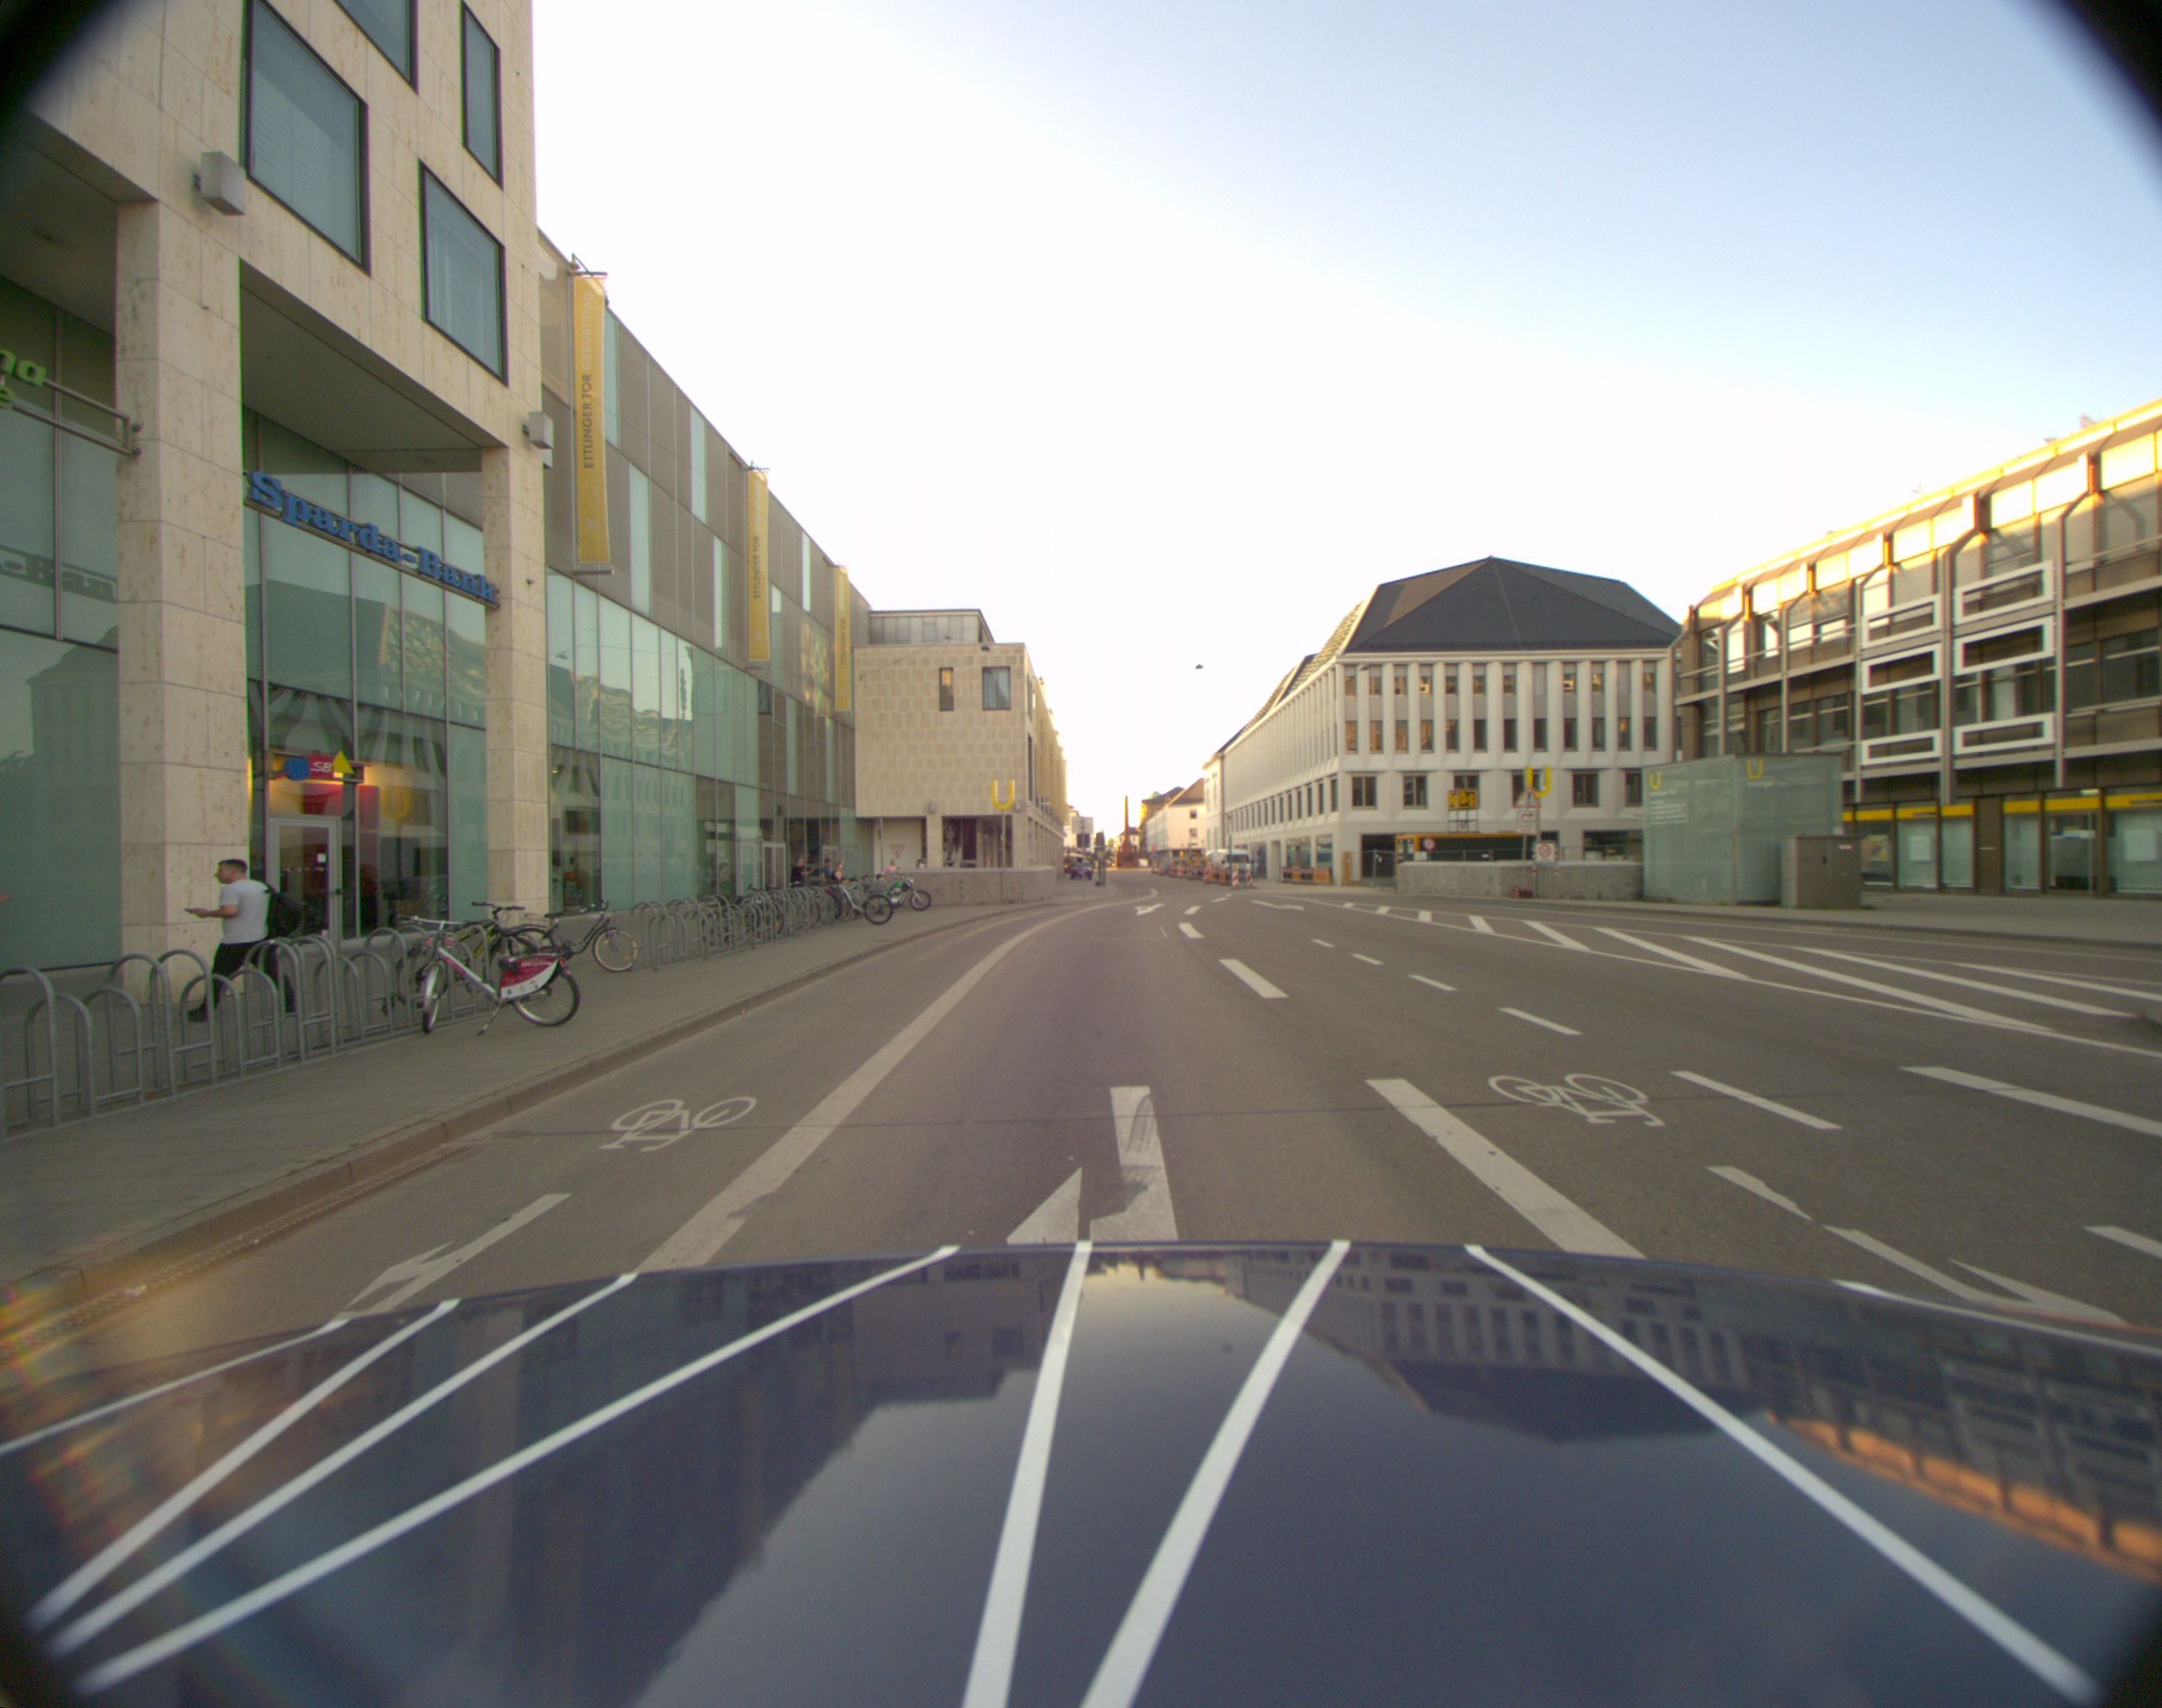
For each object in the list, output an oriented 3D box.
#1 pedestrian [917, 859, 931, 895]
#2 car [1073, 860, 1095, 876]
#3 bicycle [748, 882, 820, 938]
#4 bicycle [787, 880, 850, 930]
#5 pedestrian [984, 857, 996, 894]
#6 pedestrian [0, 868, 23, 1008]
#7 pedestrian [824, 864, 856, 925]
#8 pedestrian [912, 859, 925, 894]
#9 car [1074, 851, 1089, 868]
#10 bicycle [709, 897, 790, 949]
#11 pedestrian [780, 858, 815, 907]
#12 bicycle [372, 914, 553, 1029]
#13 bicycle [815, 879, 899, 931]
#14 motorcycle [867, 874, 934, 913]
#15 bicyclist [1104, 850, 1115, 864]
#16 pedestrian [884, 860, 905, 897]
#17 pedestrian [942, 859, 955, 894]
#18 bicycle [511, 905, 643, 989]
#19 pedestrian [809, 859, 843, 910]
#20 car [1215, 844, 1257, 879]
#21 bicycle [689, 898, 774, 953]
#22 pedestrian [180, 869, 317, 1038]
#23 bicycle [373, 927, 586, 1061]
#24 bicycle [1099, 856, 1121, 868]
[{"bbox_3d":[-7.570,1.093,36.682,0.494,1.733,0.657,-1,0,3],"label":"pedestrian"},{"bbox_3d":[0.330,1.241,67.801,1.798,1.365,3.671,-1,0,2],"label":"car"},{"bbox_3d":[-6.665,1.251,17.080,1.345,1.157,0.518,-3,0,-1],"label":"bicycle"},{"bbox_3d":[-6.609,1.275,19.166,1.345,1.157,0.518,-3,0,-1],"label":"bicycle"},{"bbox_3d":[-4.346,1.034,36.397,0.454,1.733,0.493,-1,0,3],"label":"pedestrian"},{"bbox_3d":[-13.016,0.994,8.755,0.629,1.642,0.708,-1,0,2],"label":"pedestrian"},{"bbox_3d":[-6.657,1.098,21.028,0.809,1.633,0.646,-1,0,-18],"label":"pedestrian"},{"bbox_3d":[-8.090,1.132,37.903,0.494,1.733,0.549,-1,0,3],"label":"pedestrian"},{"bbox_3d":[0.038,0.755,100.263,1.798,2.198,3.671,-1,0,2],"label":"car"},{"bbox_3d":[-6.602,1.369,15.152,1.345,0.927,0.518,-3,0,-1],"label":"bicycle"},{"bbox_3d":[-9.490,0.944,25.466,0.739,1.638,0.821,-1,0,16],"label":"pedestrian"},{"bbox_3d":[-6.804,1.283,8.395,1.518,1.117,0.581,-3,0,4],"label":"bicycle"},{"bbox_3d":[-5.395,1.230,18.322,1.838,1.140,0.466,-3,0,1],"label":"bicycle"},{"bbox_3d":[-5.716,1.245,24.087,2.007,1.217,0.480,-1,0,-2],"label":"motorcycle"},{"bbox_3d":[4.963,0.601,131.634,1.549,2.391,1.207,-1,0,17],"label":"bicyclist"},{"bbox_3d":[-8.917,1.150,36.292,0.793,1.733,0.657,-1,0,3],"label":"pedestrian"},{"bbox_3d":[-6.569,1.096,37.772,0.504,1.733,0.493,-1,0,3],"label":"pedestrian"},{"bbox_3d":[-7.309,1.336,11.075,1.447,1.058,0.580,-3,0,-10],"label":"bicycle"},{"bbox_3d":[-8.582,1.008,25.586,0.697,1.686,0.821,-1,0,15],"label":"pedestrian"},{"bbox_3d":[11.982,0.542,59.163,2.141,2.540,6.050,-1,0,1],"label":"car"},{"bbox_3d":[-6.660,1.361,14.506,1.345,0.927,0.518,-3,0,-1],"label":"bicycle"},{"bbox_3d":[-8.693,1.010,7.960,0.707,1.682,0.629,-1,0,2],"label":"pedestrian"},{"bbox_3d":[-5.405,1.245,6.869,1.518,1.057,0.466,-3,0,1],"label":"bicycle"},{"bbox_3d":[4.998,1.328,131.645,3.699,2.002,1.024,-1,0,18],"label":"bicycle"}]
